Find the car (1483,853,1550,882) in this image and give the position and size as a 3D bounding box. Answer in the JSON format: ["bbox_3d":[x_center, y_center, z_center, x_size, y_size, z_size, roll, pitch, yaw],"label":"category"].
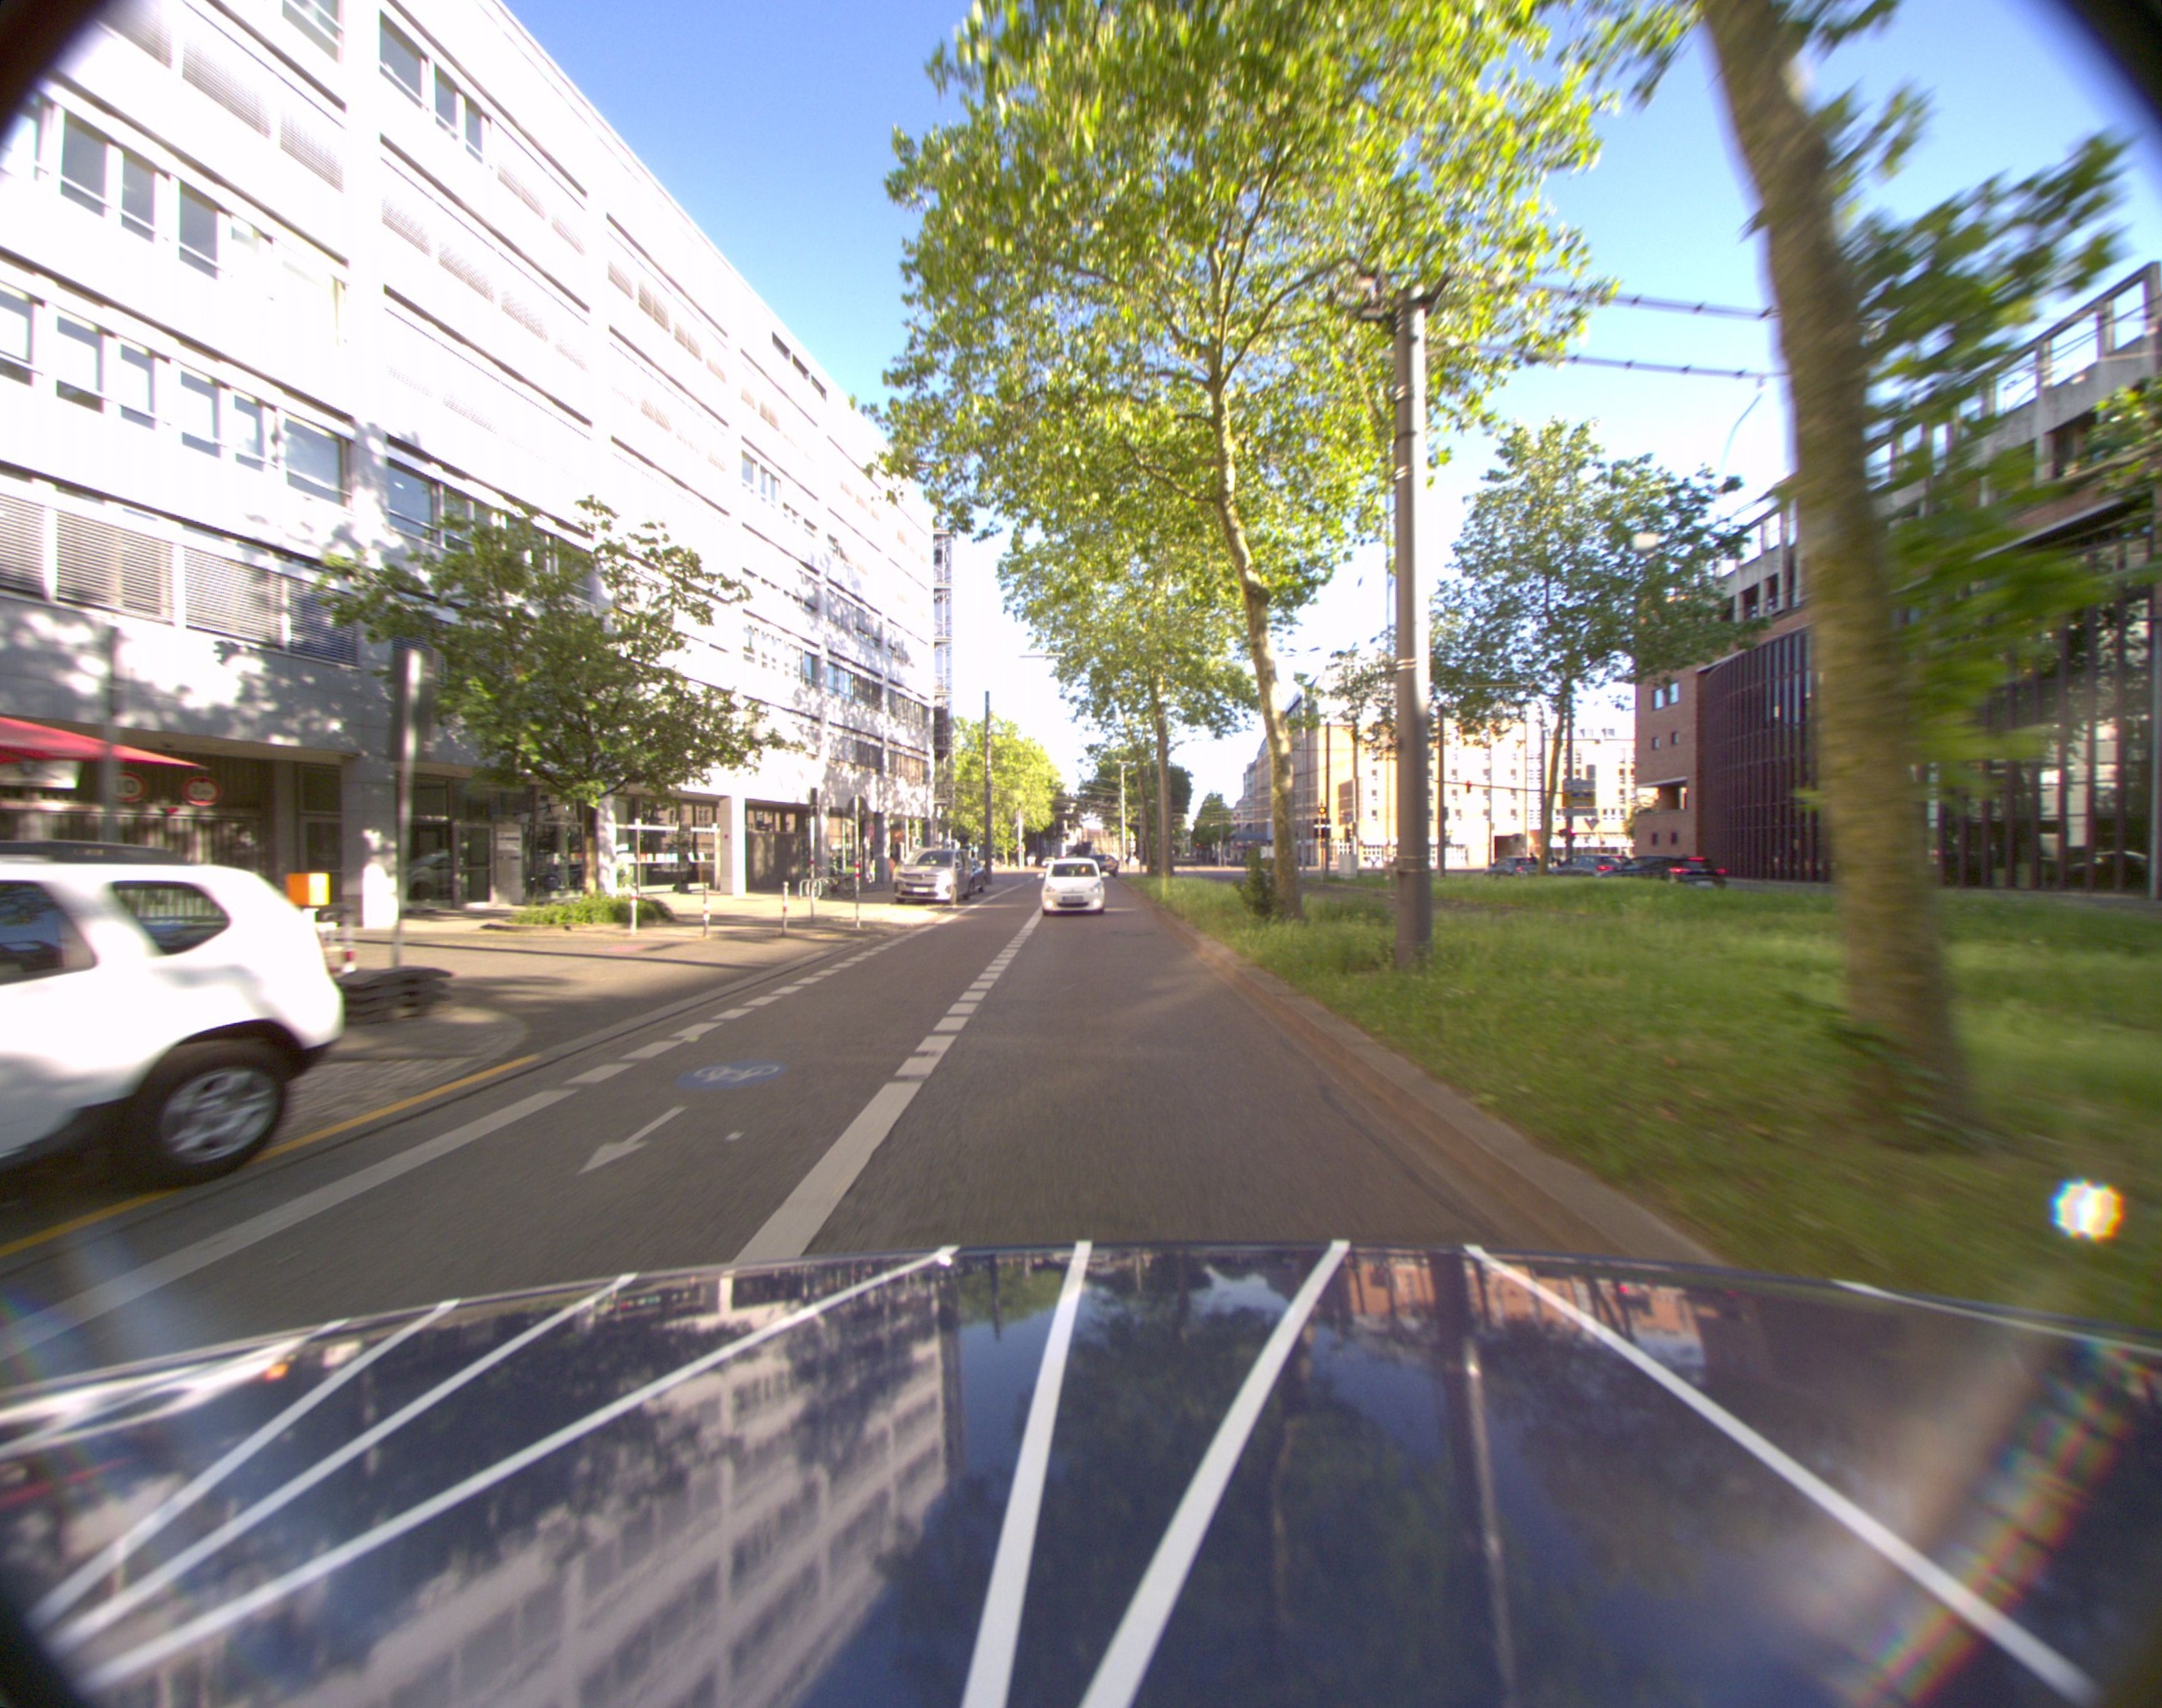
[{"bbox_3d":[22.293,0.684,38.986,1.617,1.421,3.221,0,0,0],"label":"car"}]

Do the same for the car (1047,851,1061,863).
[{"bbox_3d":[-3.949,0.462,111.090,1.865,1.724,4.018,0,0,0],"label":"car"}]

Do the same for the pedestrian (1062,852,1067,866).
[{"bbox_3d":[-2.383,0.708,108.713,0.614,2.002,0.530,0,1,0],"label":"pedestrian"}]

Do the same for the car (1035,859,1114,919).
[{"bbox_3d":[-0.082,0.908,21.597,1.720,1.442,4.426,-3,0,5],"label":"car"}]

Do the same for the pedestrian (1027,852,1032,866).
[{"bbox_3d":[-7.363,0.659,109.234,0.655,2.002,0.647,0,1,0],"label":"pedestrian"}]

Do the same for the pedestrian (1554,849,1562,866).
[{"bbox_3d":[42.144,0.306,67.137,0.566,1.495,0.512,0,-1,23],"label":"pedestrian"}]

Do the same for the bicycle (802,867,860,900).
[{"bbox_3d":[-8.622,1.024,26.223,1.777,1.100,0.666,0,0,0],"label":"bicycle"}]

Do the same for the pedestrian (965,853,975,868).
[{"bbox_3d":[-12.045,0.689,82.531,0.983,1.610,0.610,0,1,1],"label":"pedestrian"}]

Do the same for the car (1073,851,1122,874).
[{"bbox_3d":[1.224,0.581,54.570,1.995,1.626,4.459,0,0,23],"label":"car"}]

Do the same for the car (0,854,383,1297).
[{"bbox_3d":[-5.189,0.877,2.361,1.802,1.714,4.460,1,0,2],"label":"car"}]

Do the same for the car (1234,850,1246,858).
[{"bbox_3d":[31.958,-0.016,152.874,1.703,1.641,4.001,-1,0,4],"label":"car"}]

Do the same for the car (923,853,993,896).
[{"bbox_3d":[-5.083,0.819,31.926,1.921,1.631,4.019,1,0,5],"label":"car"}]

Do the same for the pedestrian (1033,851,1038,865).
[{"bbox_3d":[-6.631,0.639,110.092,0.614,2.002,0.530,0,1,0],"label":"pedestrian"}]

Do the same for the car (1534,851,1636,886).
[{"bbox_3d":[21.716,0.602,32.922,1.675,1.420,4.150,0,0,0],"label":"car"}]

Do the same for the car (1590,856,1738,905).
[{"bbox_3d":[18.664,0.804,24.569,1.617,1.420,4.150,0,0,0],"label":"car"}]

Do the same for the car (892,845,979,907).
[{"bbox_3d":[-4.908,0.693,26.297,1.922,1.893,4.861,1,0,1],"label":"car"}]
